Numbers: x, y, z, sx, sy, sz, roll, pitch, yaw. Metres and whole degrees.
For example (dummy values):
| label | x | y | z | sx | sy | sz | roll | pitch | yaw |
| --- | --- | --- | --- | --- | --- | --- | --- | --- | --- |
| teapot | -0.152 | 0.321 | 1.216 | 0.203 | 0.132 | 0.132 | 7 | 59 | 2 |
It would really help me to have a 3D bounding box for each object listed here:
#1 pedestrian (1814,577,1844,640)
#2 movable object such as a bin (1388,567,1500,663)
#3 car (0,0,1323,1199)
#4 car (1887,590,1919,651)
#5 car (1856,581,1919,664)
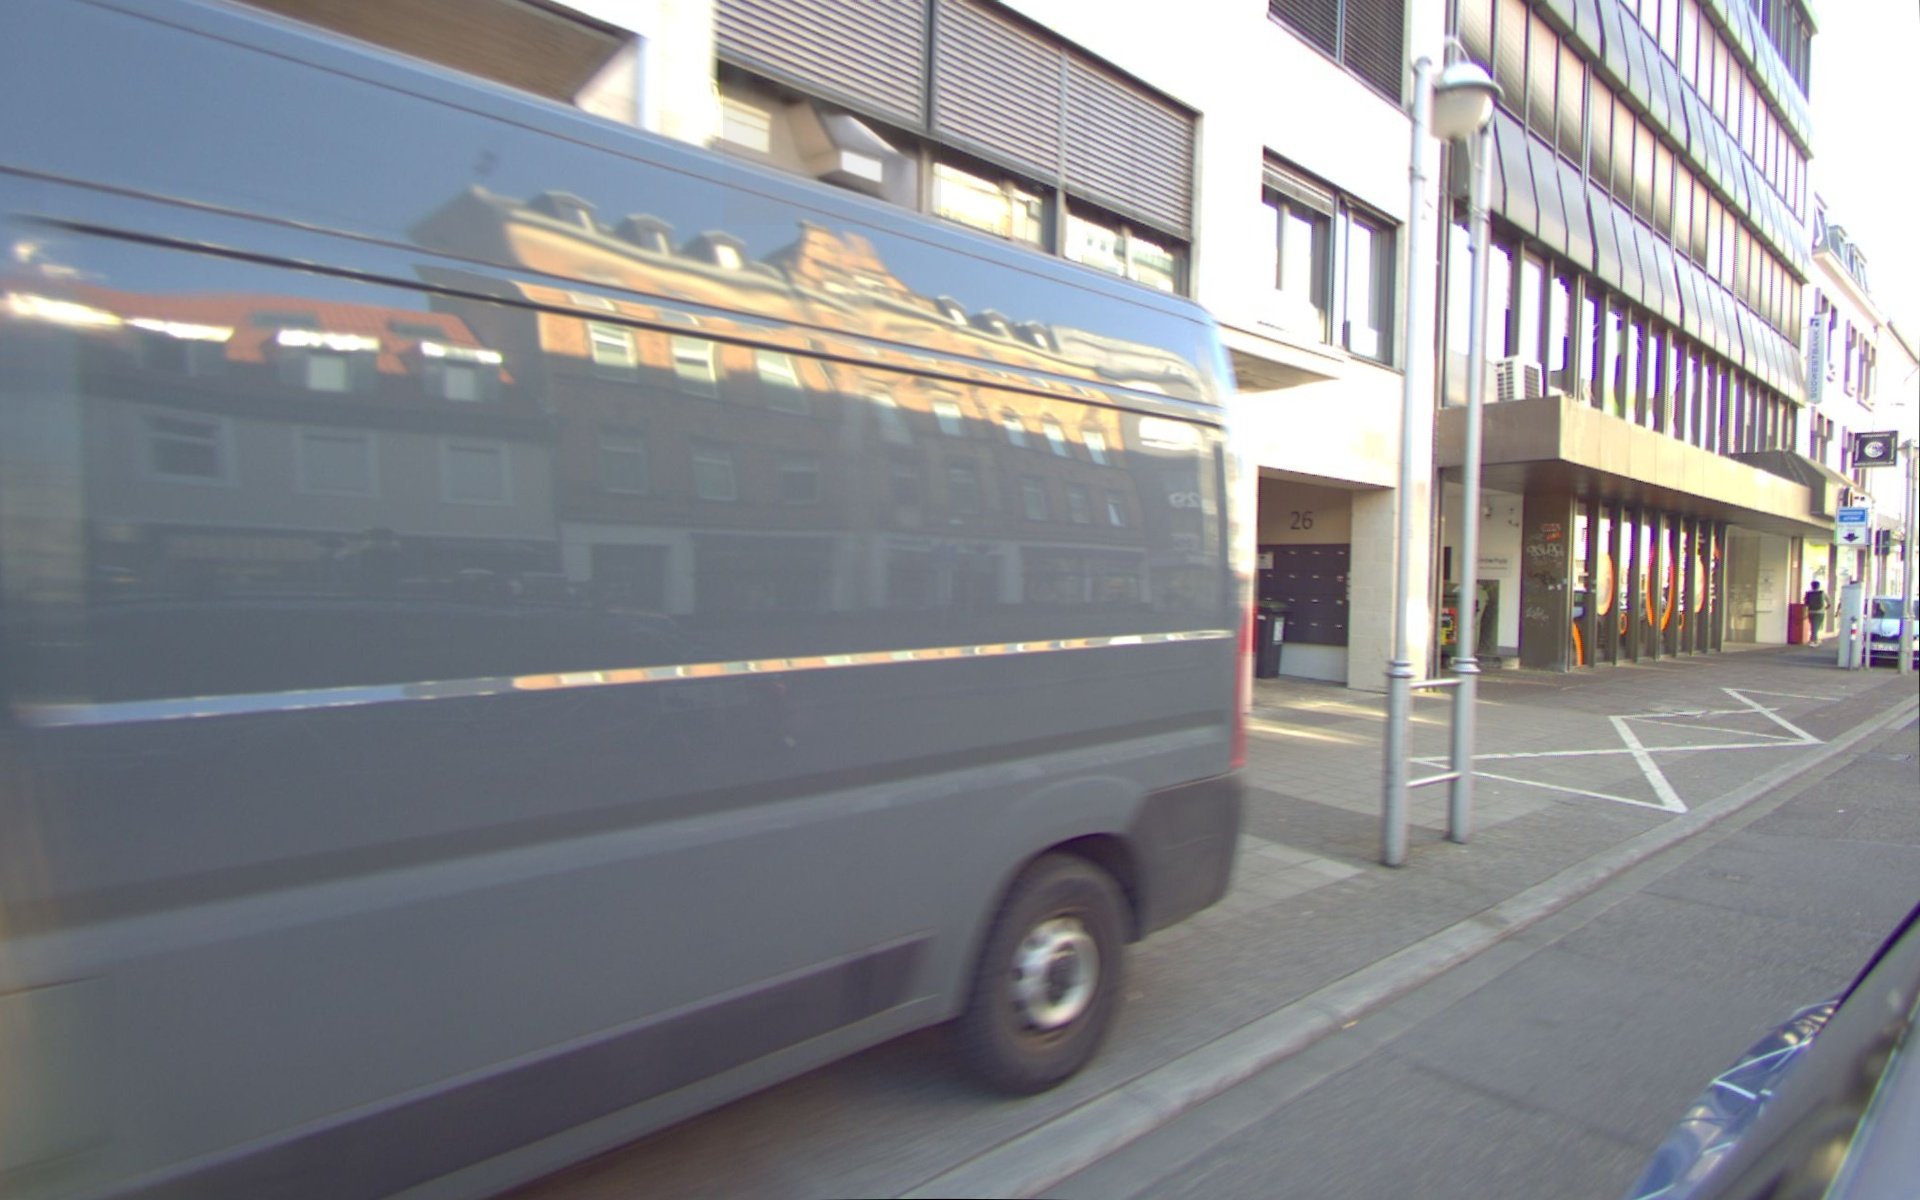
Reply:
| label | x | y | z | sx | sy | sz | roll | pitch | yaw |
| --- | --- | --- | --- | --- | --- | --- | --- | --- | --- |
| pedestrian | 23.671 | 0.224 | 27.580 | 0.731 | 1.696 | 0.513 | 0 | 0 | -41 |
| movable object such as a bin | 8.425 | 0.225 | 17.639 | 1.213 | 1.519 | 1.309 | 0 | 4 | -41 |
| car | -1.491 | 0.124 | 2.449 | 5.587 | 2.533 | 2.049 | 2 | -1 | -42 |
| car | 23.642 | 0.504 | 24.280 | 3.272 | 1.366 | 1.630 | -1 | 5 | -41 |
| car | 20.074 | 0.452 | 21.052 | 3.447 | 1.570 | 1.630 | -1 | 5 | -41 |
